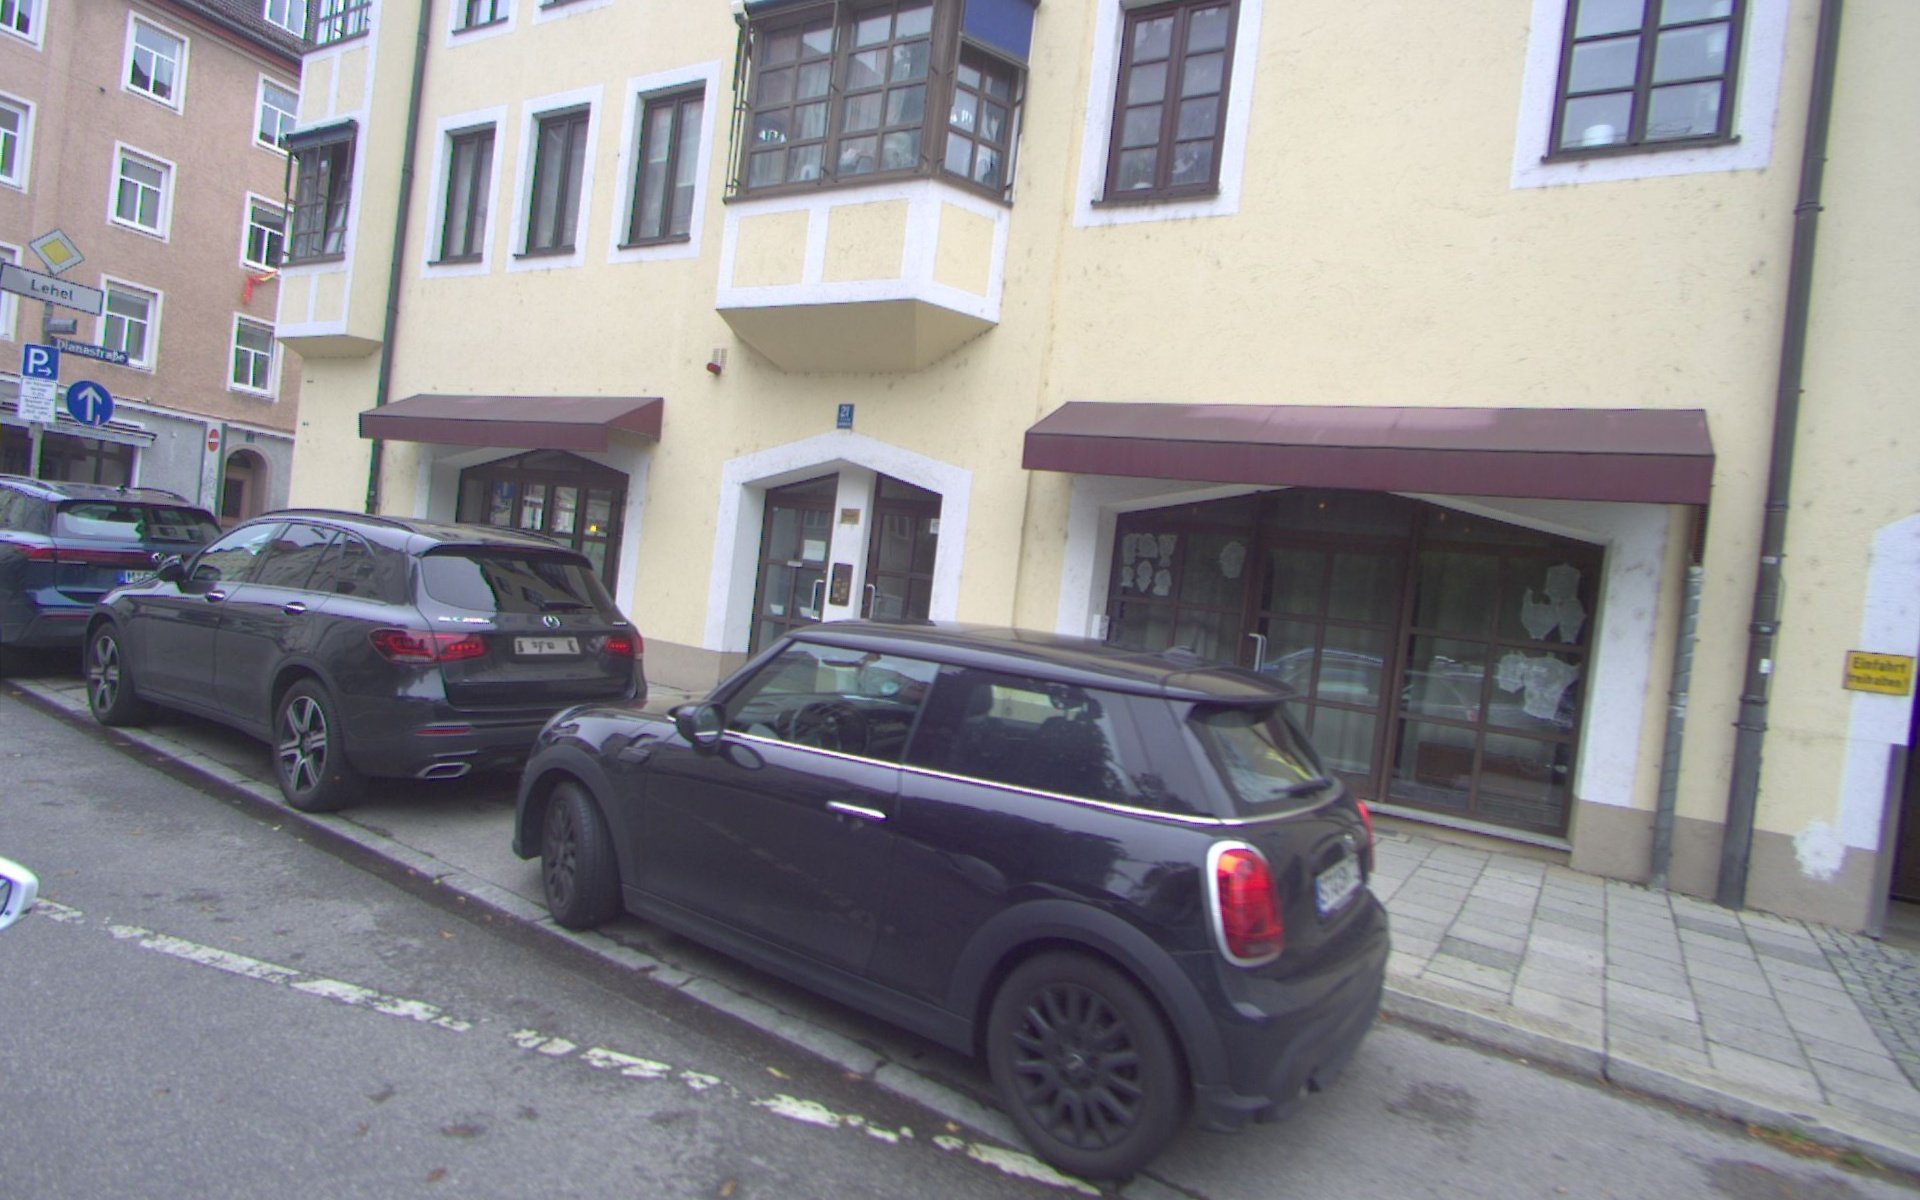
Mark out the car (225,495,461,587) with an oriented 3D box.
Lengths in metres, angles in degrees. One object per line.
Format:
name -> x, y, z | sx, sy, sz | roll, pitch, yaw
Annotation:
car -> -16.936, -1.565, 27.951 | 2.064, 1.876, 5.136 | 5, -1, 29

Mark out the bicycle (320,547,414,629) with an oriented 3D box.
bicycle -> -8.461, -0.182, 14.330 | 1.656, 0.989, 0.271 | 7, 0, 30

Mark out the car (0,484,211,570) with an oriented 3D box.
car -> -19.813, -1.637, 22.726 | 1.892, 1.446, 4.177 | 5, -1, 29

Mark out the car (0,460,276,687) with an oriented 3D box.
car -> -8.608, -0.381, 9.442 | 4.434, 1.701, 1.820 | 7, 2, 30

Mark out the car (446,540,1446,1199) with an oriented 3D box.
car -> -0.261, 0.712, 4.201 | 3.763, 1.516, 1.756 | 7, 2, 35

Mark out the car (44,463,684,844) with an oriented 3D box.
car -> -4.195, 0.131, 6.791 | 4.629, 1.701, 1.757 | 7, 2, 33

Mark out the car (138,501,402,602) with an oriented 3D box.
car -> -14.024, -0.932, 20.696 | 1.717, 1.475, 4.042 | 9, 1, 31
